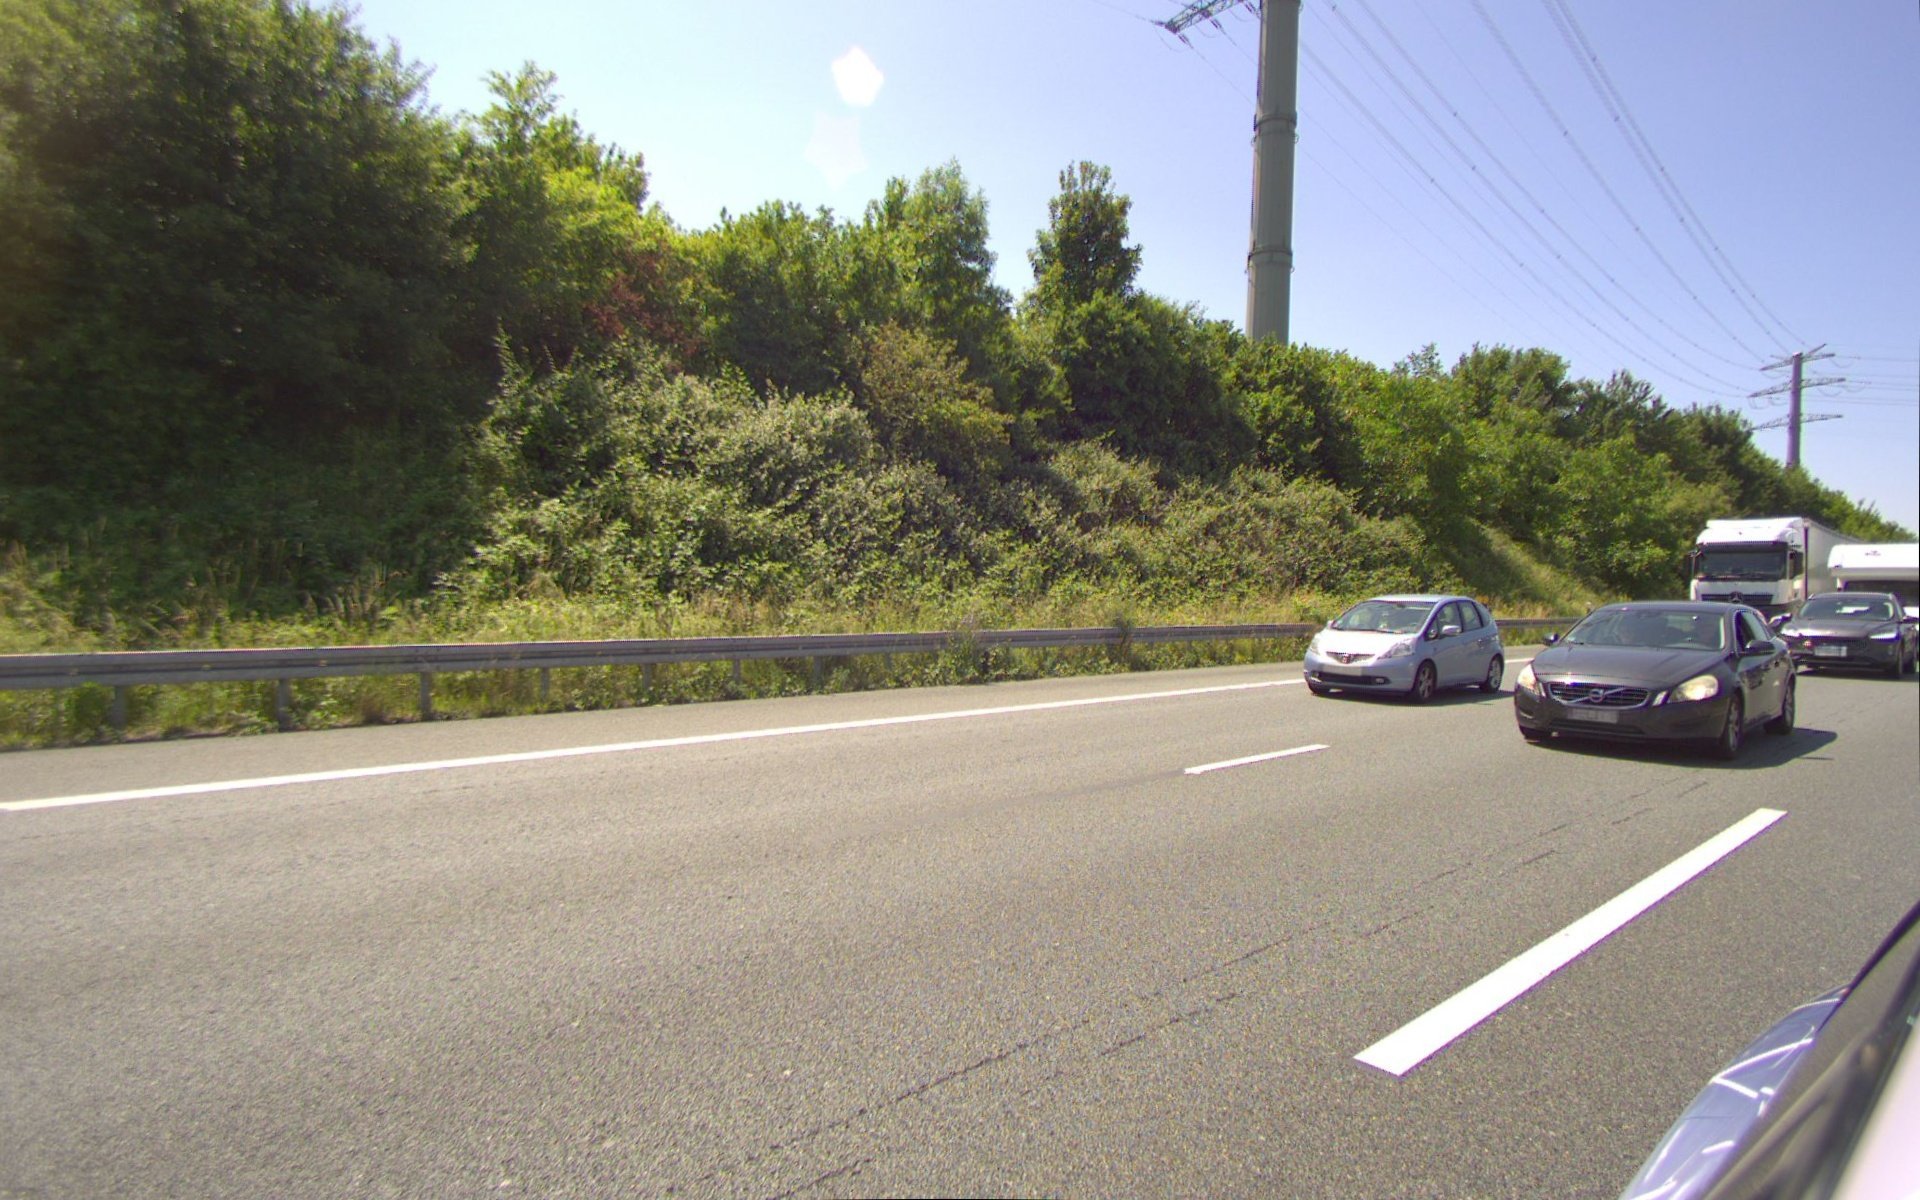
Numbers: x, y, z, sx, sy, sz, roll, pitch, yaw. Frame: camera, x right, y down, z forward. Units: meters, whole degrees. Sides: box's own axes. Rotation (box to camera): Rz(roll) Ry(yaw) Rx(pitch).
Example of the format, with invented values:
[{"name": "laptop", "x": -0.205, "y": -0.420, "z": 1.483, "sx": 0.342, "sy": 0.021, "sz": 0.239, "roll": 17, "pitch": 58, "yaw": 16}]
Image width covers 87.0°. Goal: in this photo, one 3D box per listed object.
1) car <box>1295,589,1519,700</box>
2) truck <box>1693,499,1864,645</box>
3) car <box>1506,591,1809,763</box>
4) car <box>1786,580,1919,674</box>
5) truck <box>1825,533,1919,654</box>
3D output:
[{"name": "car", "x": 6.763, "y": 0.569, "z": 15.156, "sx": 3.668, "sy": 1.455, "sz": 1.798, "roll": 0, "pitch": 0, "yaw": -43}, {"name": "truck", "x": 27.776, "y": -0.837, "z": 34.052, "sx": 11.460, "sy": 4.204, "sz": 2.653, "roll": 0, "pitch": 0, "yaw": -42}, {"name": "car", "x": 7.462, "y": 0.638, "z": 10.658, "sx": 4.159, "sy": 1.455, "sz": 1.798, "roll": 0, "pitch": 0, "yaw": -43}, {"name": "car", "x": 18.406, "y": 0.476, "z": 20.639, "sx": 4.310, "sy": 1.724, "sz": 1.889, "roll": 0, "pitch": 0, "yaw": -43}, {"name": "truck", "x": 27.509, "y": -0.175, "z": 29.140, "sx": 9.724, "sy": 3.053, "sz": 2.512, "roll": 0, "pitch": 0, "yaw": -41}]
